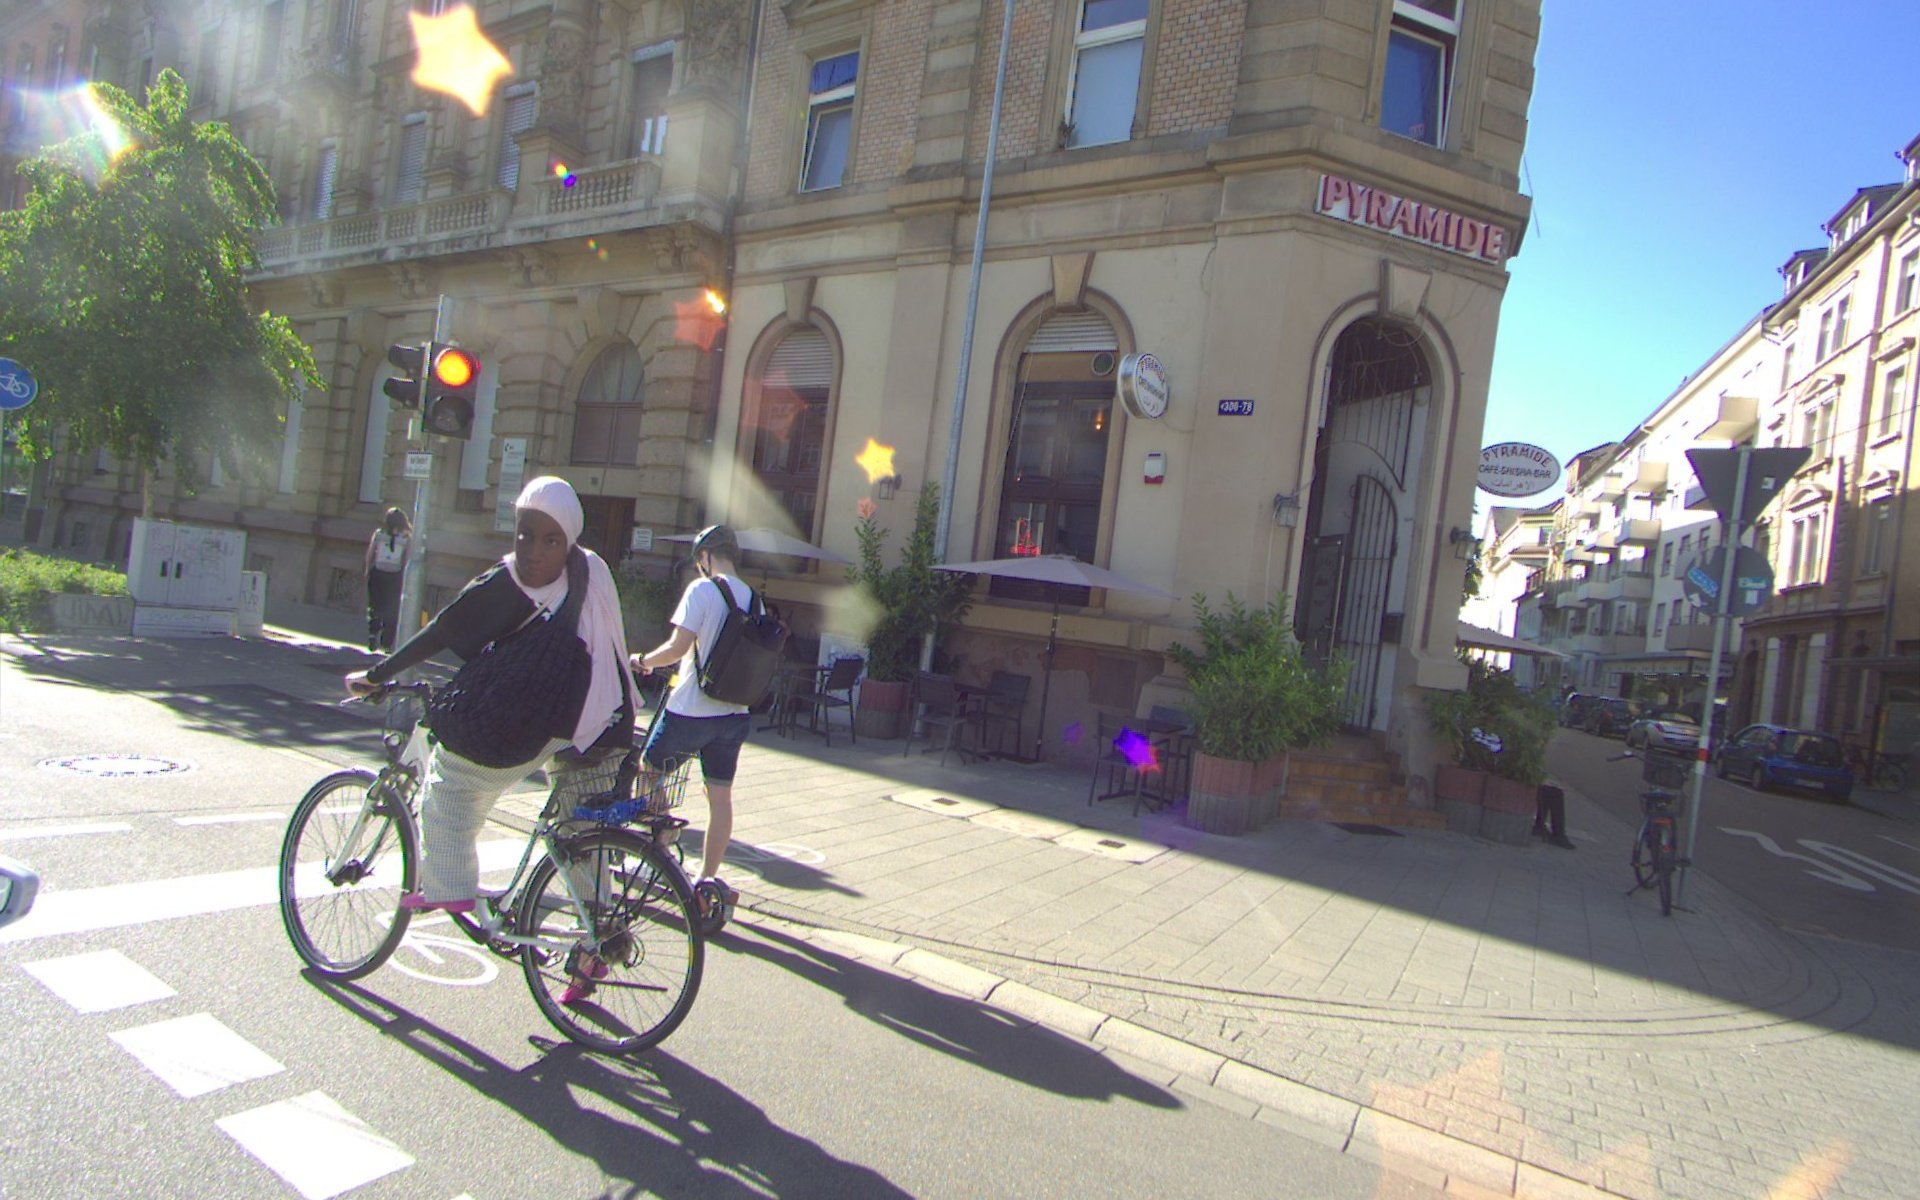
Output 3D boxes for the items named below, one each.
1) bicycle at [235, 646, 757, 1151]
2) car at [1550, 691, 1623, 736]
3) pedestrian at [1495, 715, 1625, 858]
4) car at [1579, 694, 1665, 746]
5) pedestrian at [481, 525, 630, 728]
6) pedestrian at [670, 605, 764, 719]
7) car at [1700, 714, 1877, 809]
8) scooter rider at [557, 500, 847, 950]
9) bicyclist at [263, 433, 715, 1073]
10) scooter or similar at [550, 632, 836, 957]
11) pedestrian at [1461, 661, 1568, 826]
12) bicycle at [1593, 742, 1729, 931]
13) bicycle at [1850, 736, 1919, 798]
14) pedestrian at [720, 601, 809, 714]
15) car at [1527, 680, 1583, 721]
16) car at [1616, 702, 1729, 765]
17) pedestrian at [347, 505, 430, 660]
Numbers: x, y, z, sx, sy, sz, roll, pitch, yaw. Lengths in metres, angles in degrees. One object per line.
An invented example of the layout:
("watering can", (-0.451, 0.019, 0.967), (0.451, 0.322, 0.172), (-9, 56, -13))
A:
("bicycle", (-1.595, 0.834, 3.341), (1.762, 1.105, 0.558), (7, -2, 31))
("car", (25.852, 4.650, 41.656), (1.769, 1.449, 3.773), (7, -1, 22))
("pedestrian", (6.107, 1.865, 10.301), (0.917, 1.228, 0.852), (7, -1, 25))
("car", (24.071, 4.311, 36.712), (1.769, 1.449, 3.773), (7, -1, 22))
("pedestrian", (-3.986, 0.263, 10.000), (0.954, 1.809, 0.867), (8, -1, -5))
("pedestrian", (-2.766, 0.694, 11.466), (0.624, 1.193, 0.706), (7, 2, 31))
("car", (18.473, 3.527, 22.662), (1.769, 1.437, 4.000), (9, 0, 22))
("scooter rider", (-1.220, 0.543, 4.795), (0.886, 1.882, 0.668), (7, -1, 31))
("bicyclist", (-1.507, 0.416, 3.282), (0.854, 1.731, 0.781), (7, -2, 31))
("scooter or similar", (-1.274, 0.856, 4.757), (1.151, 1.240, 0.492), (7, -2, 31))
("pedestrian", (6.625, 1.685, 12.074), (0.852, 1.781, 0.909), (7, -1, 25))
("bicycle", (5.699, 1.843, 8.206), (0.643, 1.186, 1.818), (11, 2, 35))
("bicycle", (22.175, 3.957, 23.647), (0.621, 1.192, 2.014), (7, 0, 1))
("pedestrian", (-2.356, 0.686, 12.143), (0.624, 1.252, 0.706), (7, 2, 31))
("car", (30.123, 5.049, 51.015), (1.769, 1.685, 3.772), (7, -1, 23))
("car", (21.810, 4.030, 30.964), (1.769, 1.350, 4.000), (9, 0, 22))
("pedestrian", (-7.610, -0.241, 13.368), (0.648, 1.932, 1.067), (7, 1, -37))
